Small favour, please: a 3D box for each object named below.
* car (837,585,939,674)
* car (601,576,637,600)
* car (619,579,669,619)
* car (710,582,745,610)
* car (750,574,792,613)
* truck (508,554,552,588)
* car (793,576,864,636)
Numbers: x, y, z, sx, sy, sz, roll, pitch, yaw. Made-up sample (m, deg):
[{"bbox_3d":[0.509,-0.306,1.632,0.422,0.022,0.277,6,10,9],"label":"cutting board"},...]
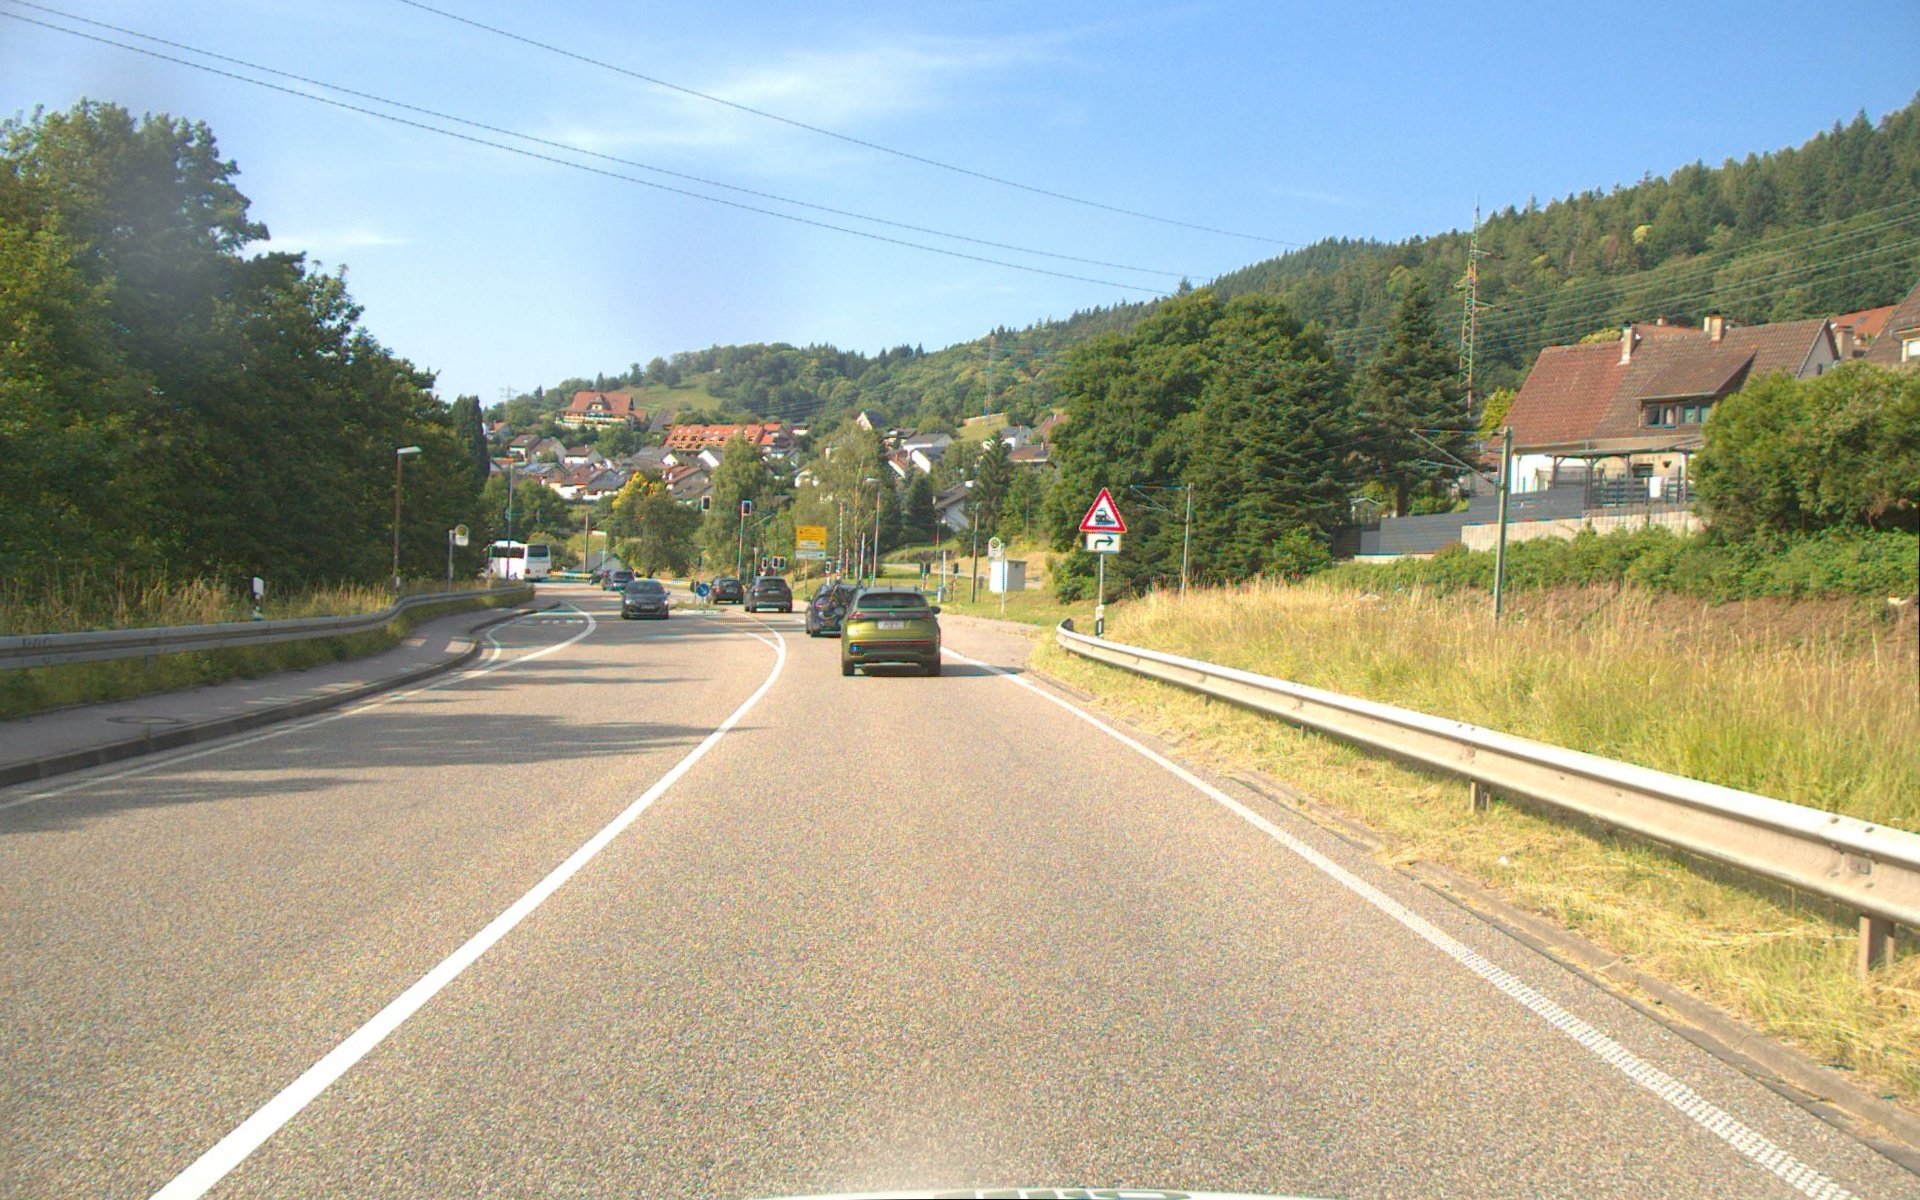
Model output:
[{"bbox_3d":[-1.308,0.471,29.364,1.680,1.480,3.997,0,0,-3],"label":"car"},{"bbox_3d":[-27.269,-0.961,132.139,2.036,1.843,3.971,0,1,-24],"label":"car"},{"bbox_3d":[-12.439,-0.040,65.294,1.856,1.514,3.991,-1,1,-10],"label":"car"},{"bbox_3d":[-13.290,-0.231,94.359,1.816,1.553,3.653,-1,1,-11],"label":"car"},{"bbox_3d":[-8.651,-0.310,75.646,1.844,1.716,3.994,1,0,-7],"label":"car"},{"bbox_3d":[-41.575,-2.796,159.823,2.682,3.138,6.050,1,0,-29],"label":"truck"},{"bbox_3d":[-3.731,0.138,46.461,1.636,1.586,3.992,1,0,-9],"label":"car"}]
